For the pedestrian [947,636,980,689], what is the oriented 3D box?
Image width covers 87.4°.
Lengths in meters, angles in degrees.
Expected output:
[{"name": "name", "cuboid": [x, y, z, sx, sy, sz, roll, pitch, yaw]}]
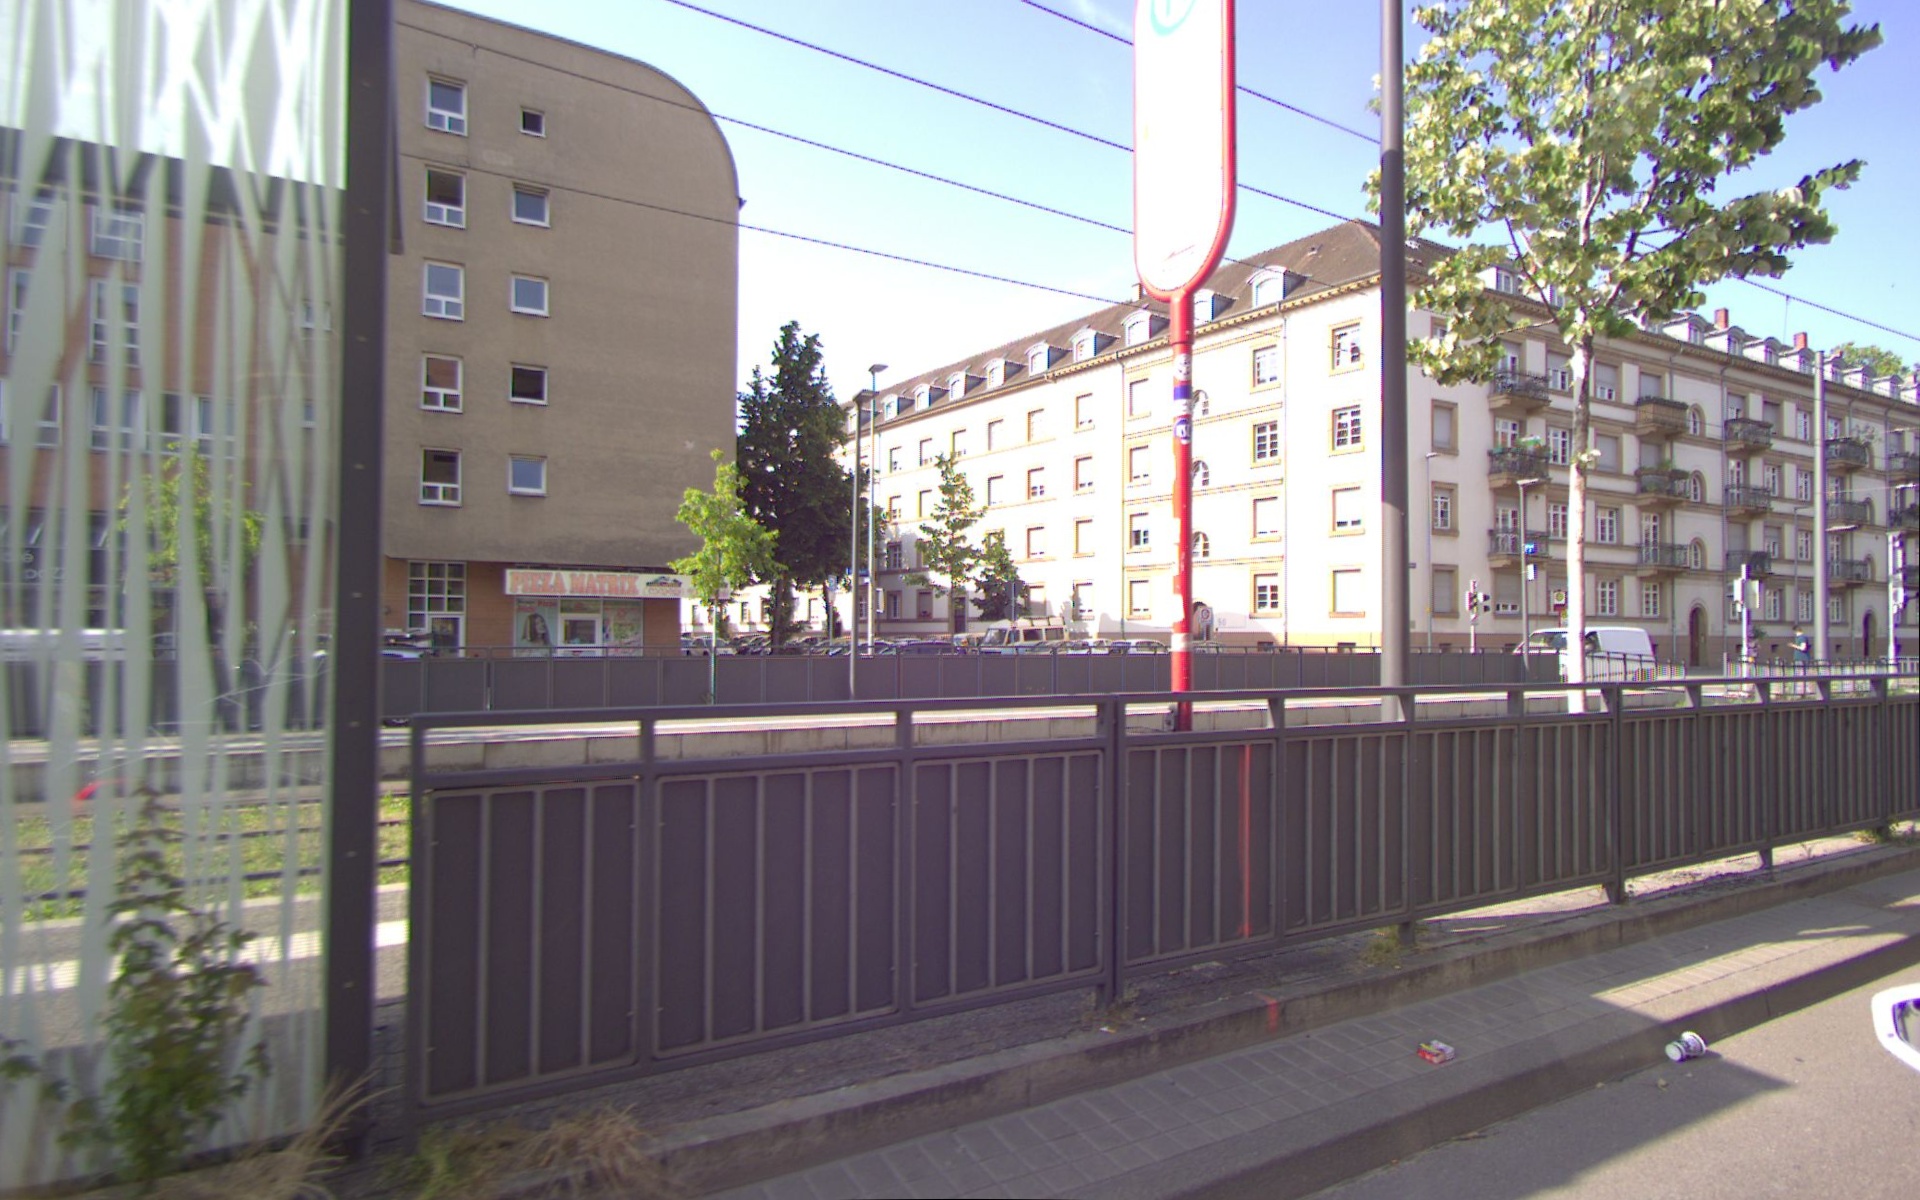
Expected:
[{"name": "pedestrian", "cuboid": [0.107, 1.929, 31.271, 0.799, 1.604, 0.674, 1, -2, -32]}]

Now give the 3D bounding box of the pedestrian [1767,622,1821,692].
[{"name": "pedestrian", "cuboid": [22.961, 1.551, 27.683, 1.053, 1.892, 0.862, 0, -2, 34]}]

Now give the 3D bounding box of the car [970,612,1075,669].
[{"name": "car", "cuboid": [3.056, 1.963, 48.412, 5.005, 2.617, 1.980, 2, -2, -36]}]

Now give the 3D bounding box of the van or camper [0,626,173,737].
[{"name": "van or camper", "cuboid": [-18.063, 1.537, 19.514, 3.945, 2.040, 1.989, 1, -2, -24]}]

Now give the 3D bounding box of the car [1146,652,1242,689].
[{"name": "car", "cuboid": [9.491, 2.811, 40.655, 3.961, 1.372, 1.569, 2, -2, -36]}]

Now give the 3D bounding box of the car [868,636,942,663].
[{"name": "car", "cuboid": [-3.061, 2.755, 56.038, 3.856, 1.434, 1.662, 1, -2, -35]}]

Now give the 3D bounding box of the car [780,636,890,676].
[{"name": "car", "cuboid": [-5.006, 2.205, 40.318, 3.955, 1.528, 1.983, 1, -2, -32]}]

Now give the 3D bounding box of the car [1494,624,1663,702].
[{"name": "car", "cuboid": [17.382, 1.715, 28.186, 4.874, 2.040, 1.984, 1, -2, -30]}]

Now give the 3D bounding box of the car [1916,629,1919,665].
[{"name": "car", "cuboid": [54.834, 2.634, 55.134, 5.089, 1.943, 1.985, 1, 0, -29]}]

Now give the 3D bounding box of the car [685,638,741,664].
[{"name": "car", "cuboid": [-13.770, 2.790, 55.864, 1.810, 1.394, 3.962, 1, -2, -34]}]

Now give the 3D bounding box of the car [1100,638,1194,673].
[{"name": "car", "cuboid": [8.008, 2.359, 42.887, 3.959, 1.424, 1.662, 1, -2, -35]}]

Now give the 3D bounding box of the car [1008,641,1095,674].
[{"name": "car", "cuboid": [4.246, 2.615, 46.410, 3.886, 1.434, 1.662, 1, -2, -35]}]

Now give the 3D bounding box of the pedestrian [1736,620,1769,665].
[{"name": "pedestrian", "cuboid": [37.779, 2.003, 47.886, 1.142, 2.096, 0.839, 1, -1, -28]}]

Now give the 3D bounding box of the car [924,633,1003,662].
[{"name": "car", "cuboid": [0.204, 2.466, 52.259, 3.856, 1.434, 1.662, 1, -2, -35]}]

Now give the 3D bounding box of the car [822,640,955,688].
[{"name": "car", "cuboid": [-2.538, 2.237, 36.031, 4.507, 1.620, 1.753, 1, -2, -34]}]

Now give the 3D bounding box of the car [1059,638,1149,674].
[{"name": "car", "cuboid": [6.460, 2.476, 44.950, 3.886, 1.553, 1.662, 1, -2, -35]}]

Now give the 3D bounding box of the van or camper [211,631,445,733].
[{"name": "van or camper", "cuboid": [-13.302, 1.668, 21.449, 3.945, 1.994, 1.925, 1, -2, -25]}]
